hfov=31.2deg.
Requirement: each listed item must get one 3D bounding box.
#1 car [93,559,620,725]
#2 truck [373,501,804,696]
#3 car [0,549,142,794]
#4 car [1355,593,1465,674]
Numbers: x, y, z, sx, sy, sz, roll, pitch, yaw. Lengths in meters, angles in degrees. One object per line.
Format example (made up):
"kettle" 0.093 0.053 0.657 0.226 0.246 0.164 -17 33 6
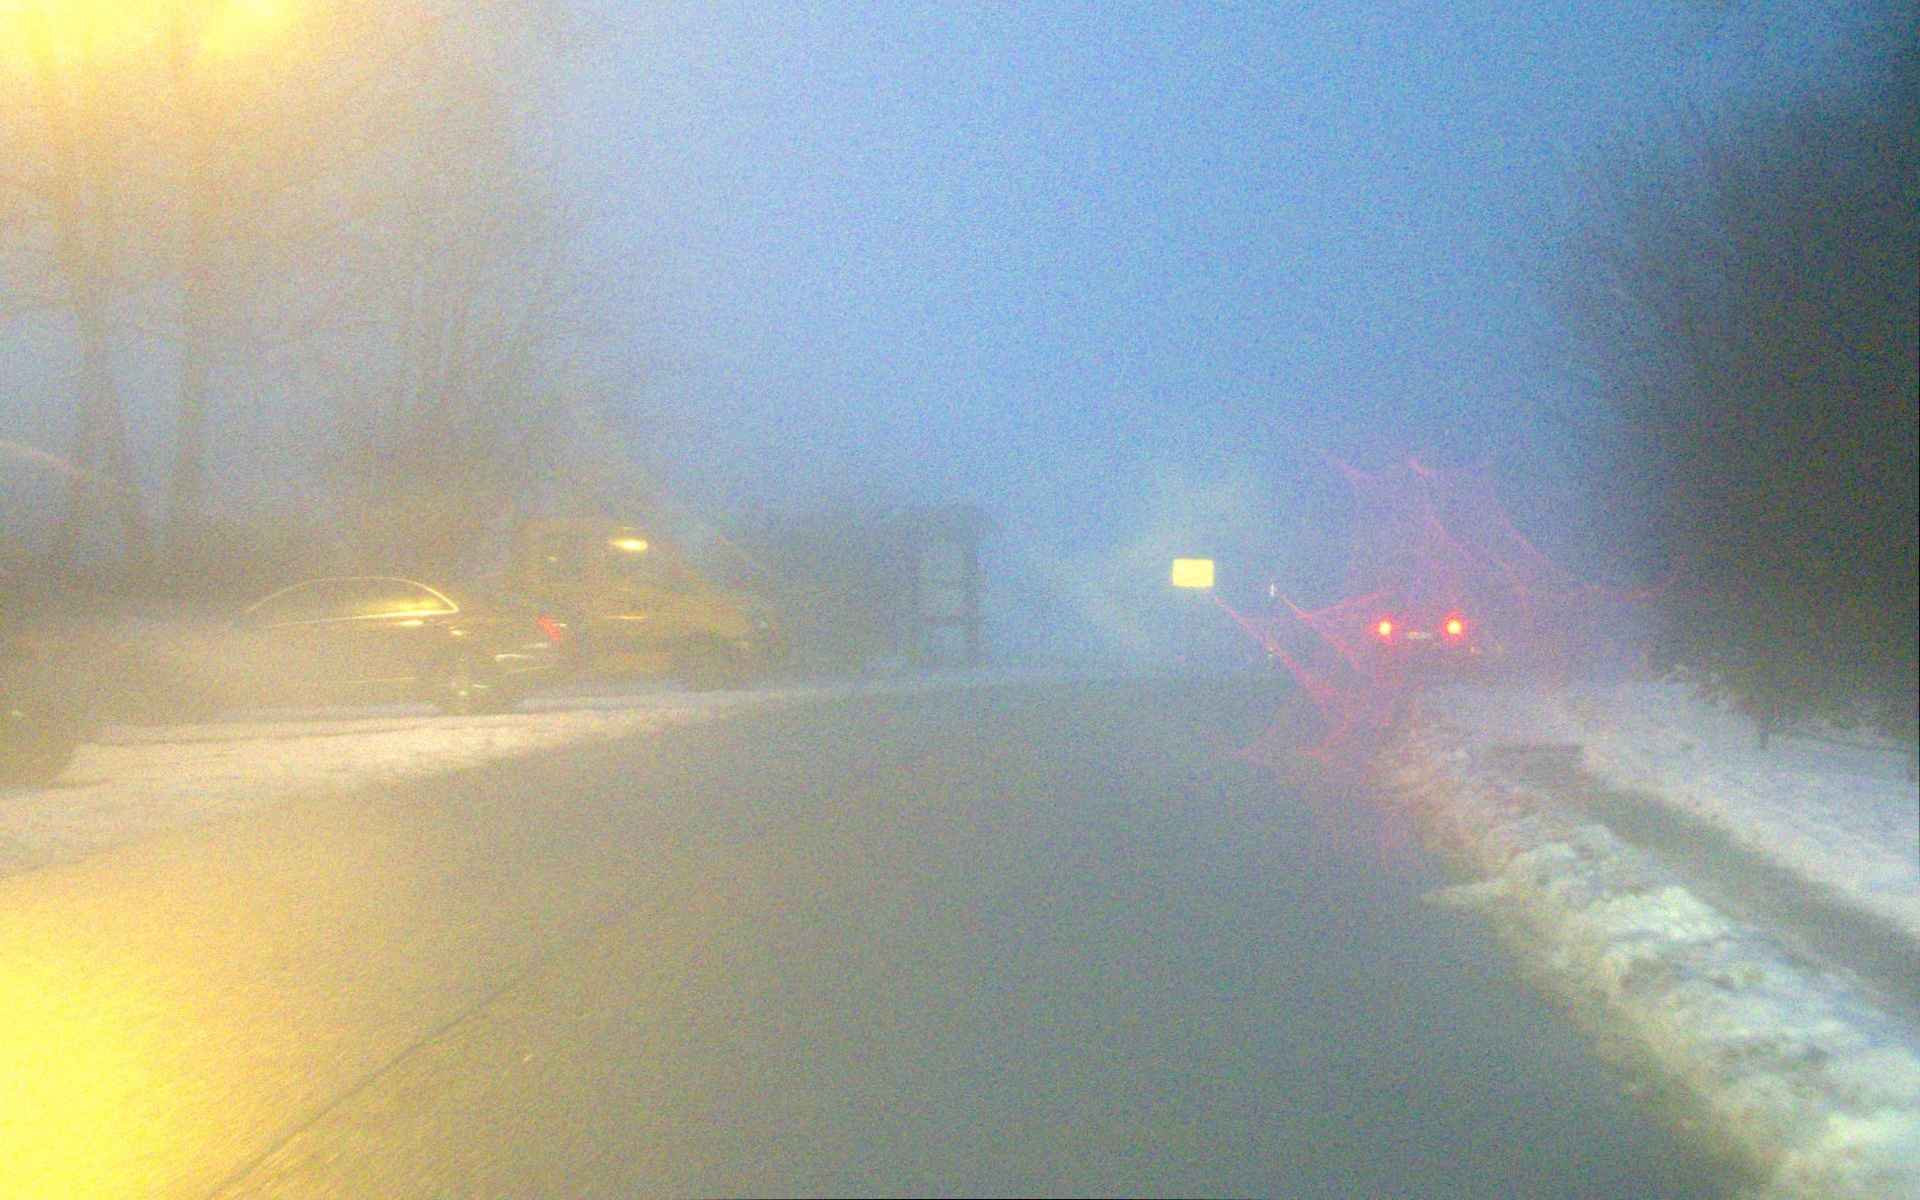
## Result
"car" -6.064 0.411 34.943 4.887 1.480 2.123 -2 0 3
"truck" -4.770 -0.027 44.673 5.261 2.295 2.000 -2 0 2
"car" -7.323 0.476 21.652 3.854 1.466 1.939 -2 0 -1
"car" 8.566 0.611 65.352 1.994 1.415 3.999 1 1 8
